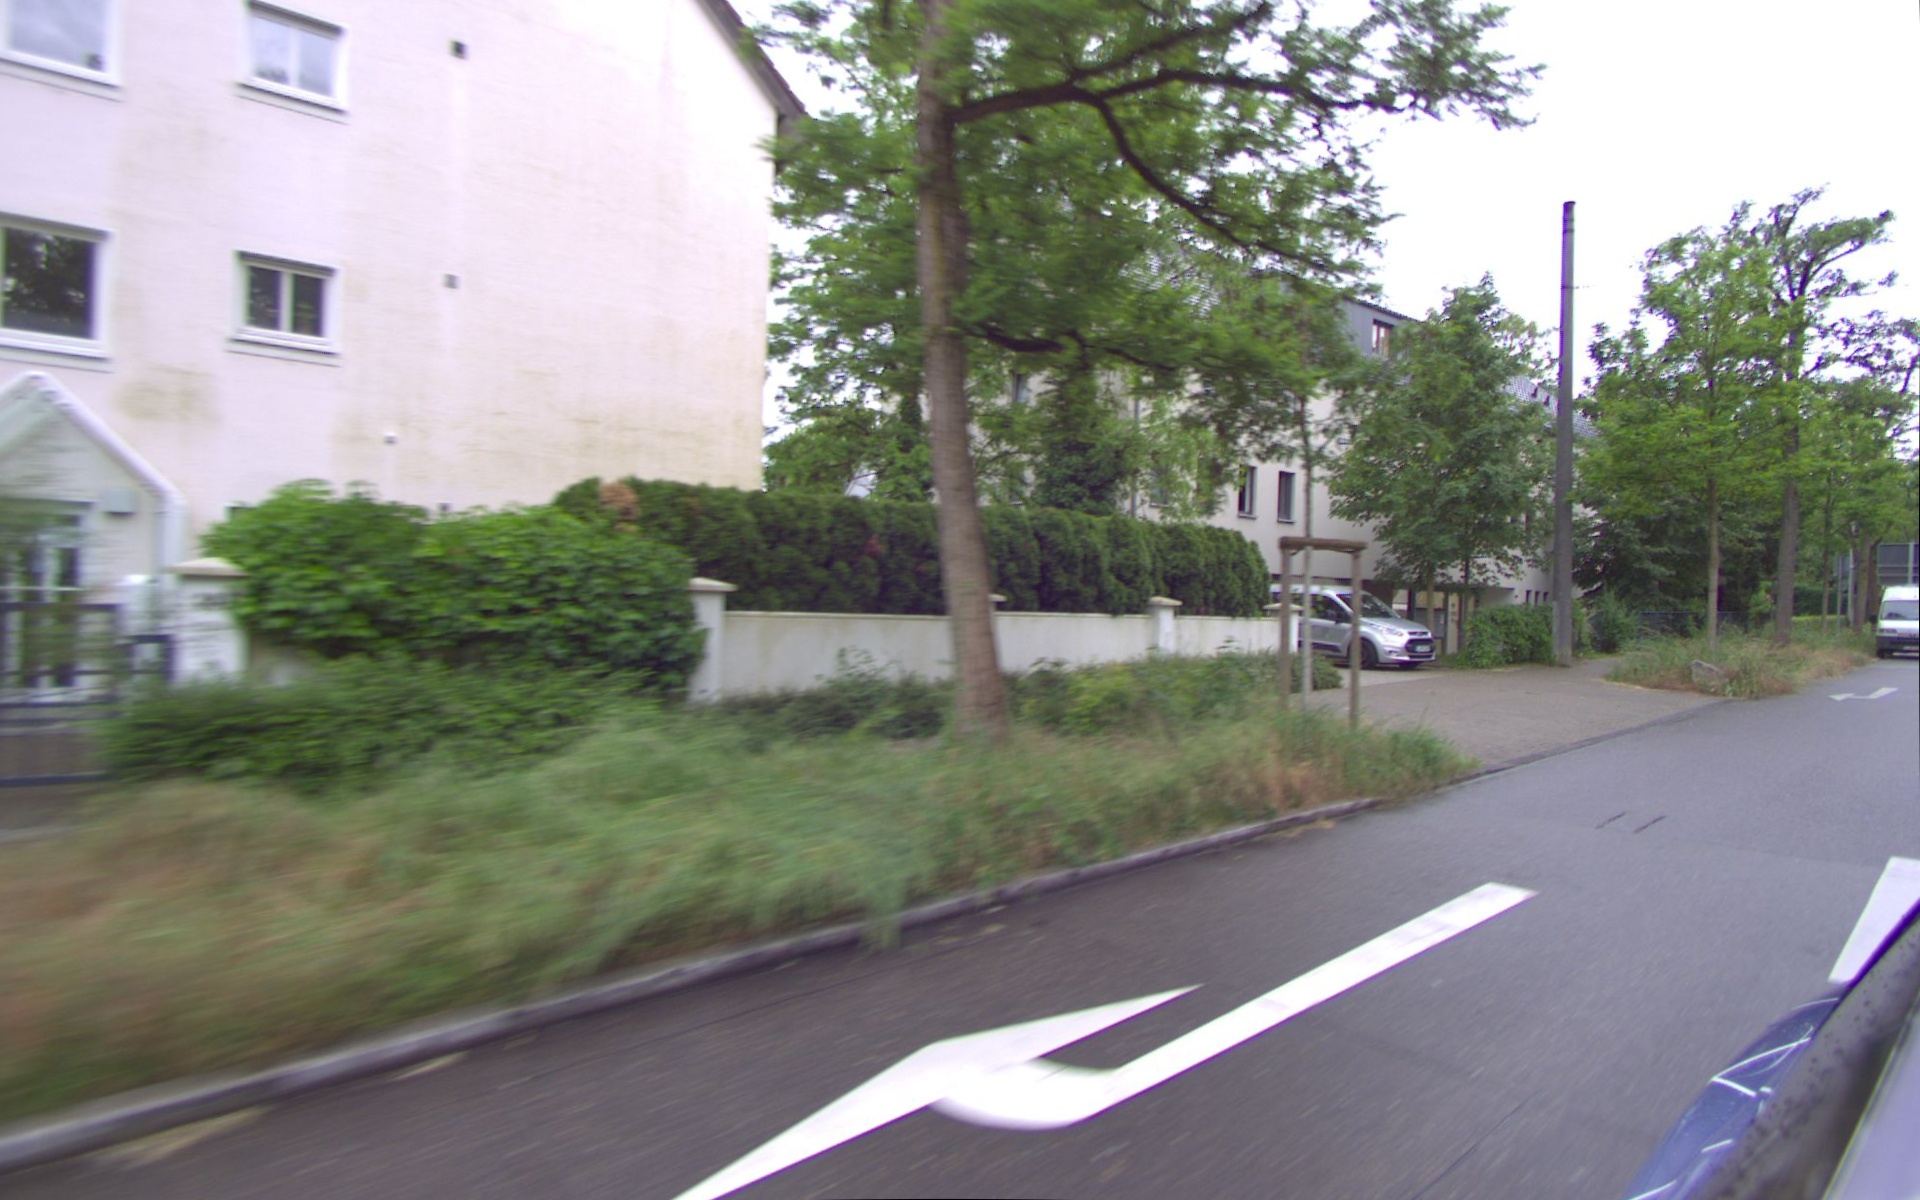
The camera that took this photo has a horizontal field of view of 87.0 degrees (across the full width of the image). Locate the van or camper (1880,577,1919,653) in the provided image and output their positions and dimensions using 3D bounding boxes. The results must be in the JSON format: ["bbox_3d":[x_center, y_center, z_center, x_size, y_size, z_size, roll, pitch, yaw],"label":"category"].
[{"bbox_3d":[33.805,0.489,35.322,5.544,2.511,2.038,0,-1,-43],"label":"van or camper"}]

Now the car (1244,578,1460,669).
[{"bbox_3d":[8.683,0.464,22.807,1.837,1.840,4.321,1,0,-32],"label":"car"}]
